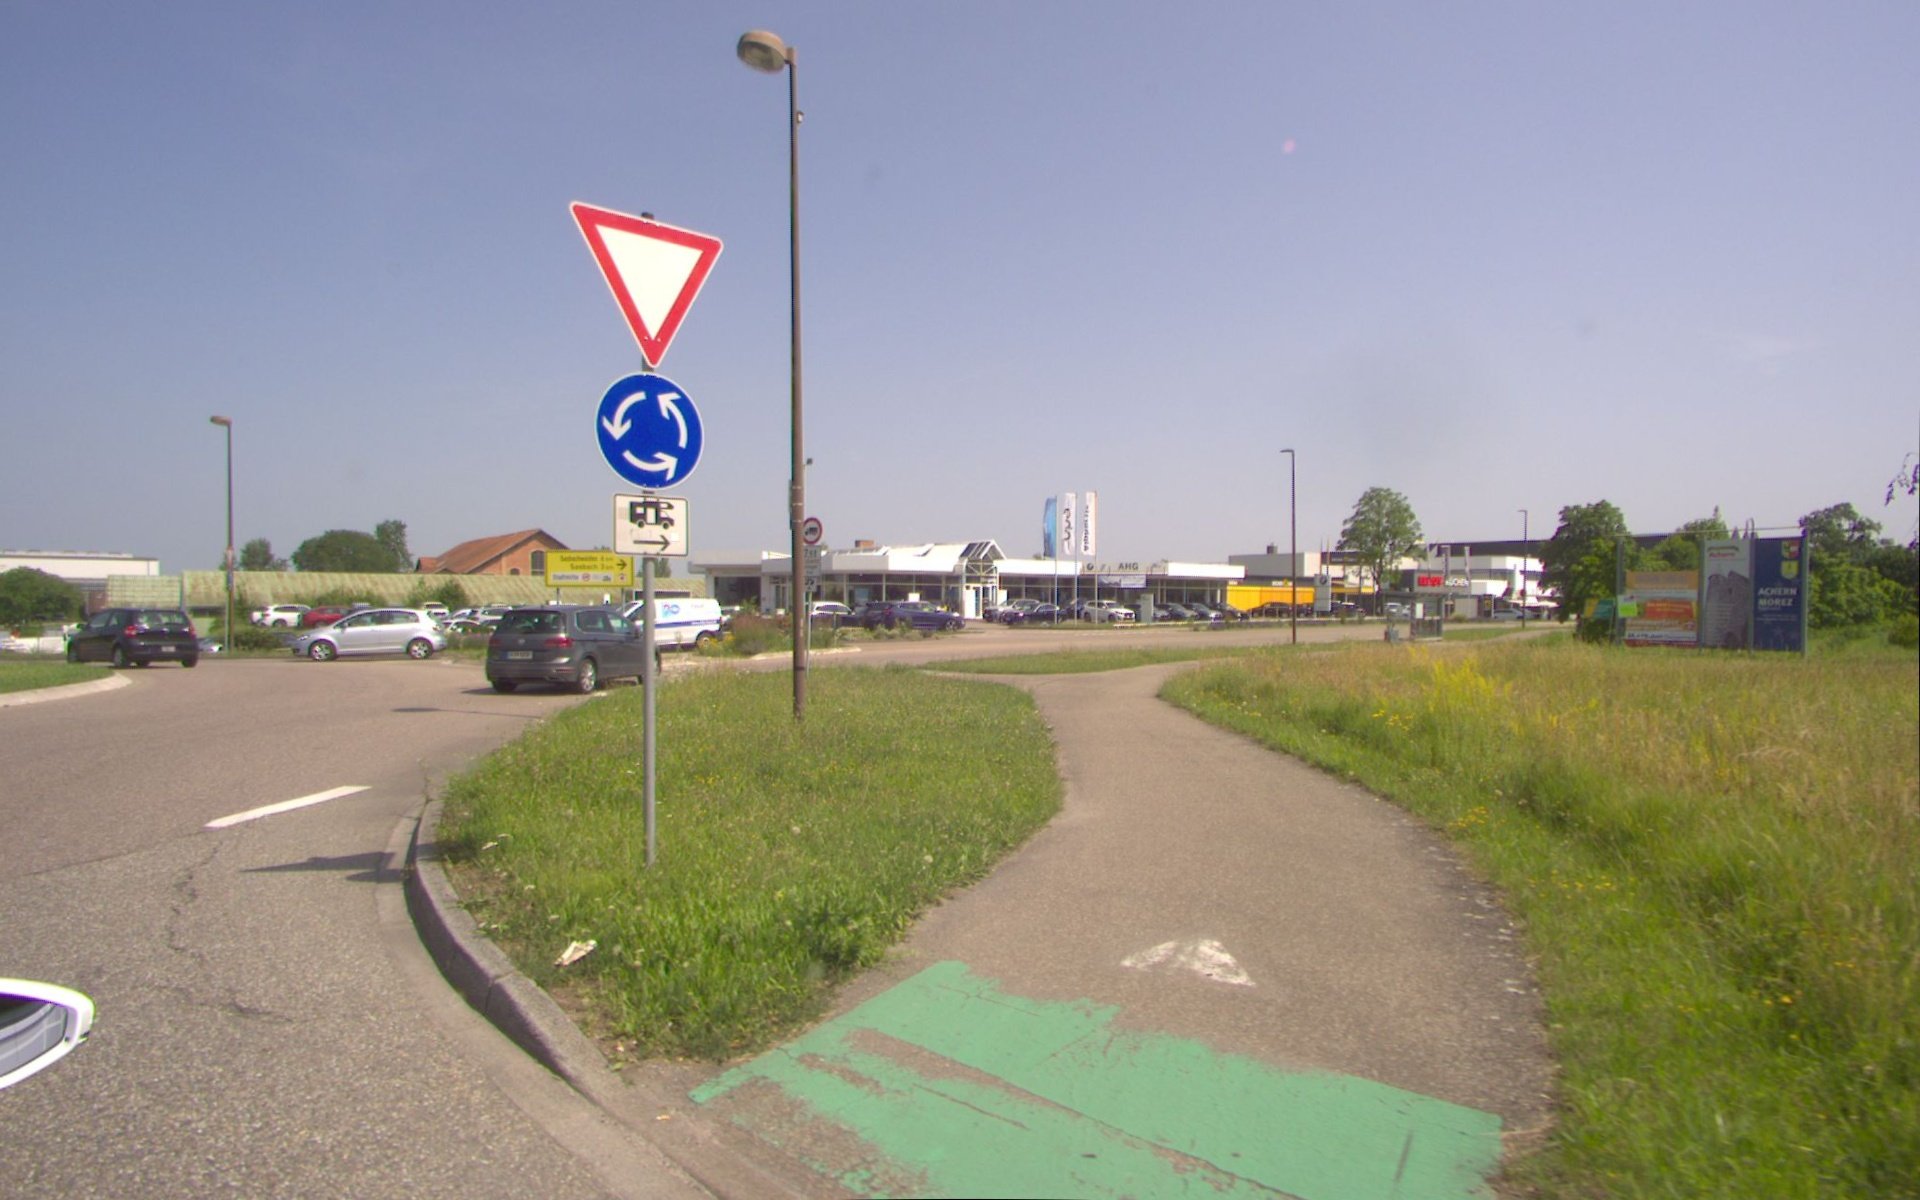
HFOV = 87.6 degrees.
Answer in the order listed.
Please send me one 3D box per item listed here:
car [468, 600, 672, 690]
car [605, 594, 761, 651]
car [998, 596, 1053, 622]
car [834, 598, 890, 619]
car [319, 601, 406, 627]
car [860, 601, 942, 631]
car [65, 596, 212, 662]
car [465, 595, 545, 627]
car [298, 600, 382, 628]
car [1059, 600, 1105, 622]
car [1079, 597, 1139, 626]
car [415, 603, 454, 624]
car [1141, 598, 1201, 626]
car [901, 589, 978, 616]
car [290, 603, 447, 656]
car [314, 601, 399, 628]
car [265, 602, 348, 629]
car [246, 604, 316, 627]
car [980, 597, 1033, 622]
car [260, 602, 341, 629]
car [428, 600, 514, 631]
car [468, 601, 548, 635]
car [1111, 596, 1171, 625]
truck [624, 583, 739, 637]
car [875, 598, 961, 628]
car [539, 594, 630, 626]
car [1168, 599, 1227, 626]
[{"bbox_3d":[-7.192,0.754,18.948,1.740,1.504,4.038,0,0,10],"label":"car"},{"bbox_3d":[-9.966,0.841,36.226,5.166,1.962,1.848,1,-2,-36],"label":"car"},{"bbox_3d":[4.480,0.661,68.441,3.656,1.675,1.569,1,-2,-39],"label":"car"},{"bbox_3d":[-7.662,0.632,78.176,3.991,1.607,1.896,-1,0,-37],"label":"car"},{"bbox_3d":[-37.350,0.865,62.630,4.421,1.520,1.932,-1,0,-42],"label":"car"},{"bbox_3d":[-3.223,0.840,54.230,4.293,1.533,1.908,0,0,-10],"label":"car"},{"bbox_3d":[-21.050,0.756,25.631,3.943,1.549,1.776,-1,-2,32],"label":"car"},{"bbox_3d":[-27.262,0.656,60.077,3.965,1.774,1.932,-2,2,-42],"label":"car"},{"bbox_3d":[-40.777,0.884,65.896,4.421,1.770,1.932,-1,0,-42],"label":"car"},{"bbox_3d":[9.721,0.891,79.869,3.656,1.675,1.569,1,-2,-39],"label":"car"},{"bbox_3d":[10.909,0.861,73.457,1.977,2.039,4.230,1,-2,-38],"label":"car"},{"bbox_3d":[-41.414,1.078,78.815,1.901,1.617,4.269,-1,0,-39],"label":"car"},{"bbox_3d":[16.185,0.972,76.862,1.977,2.039,4.230,1,-2,-38],"label":"car"},{"bbox_3d":[-1.218,0.129,58.339,4.293,1.533,1.908,0,0,-10],"label":"car"},{"bbox_3d":[-18.130,0.924,30.927,4.024,1.549,1.778,1,-2,-27],"label":"car"},{"bbox_3d":[-38.772,0.926,64.380,4.421,1.656,1.932,-1,0,-42],"label":"car"},{"bbox_3d":[-43.643,1.012,66.948,4.421,1.770,1.822,-1,0,-42],"label":"car"},{"bbox_3d":[-47.363,1.082,69.884,3.847,1.553,1.752,-1,0,-42],"label":"car"},{"bbox_3d":[3.323,0.715,71.000,3.656,1.675,1.569,1,-2,-39],"label":"car"},{"bbox_3d":[-45.165,1.036,68.657,4.421,1.770,1.822,-1,0,-42],"label":"car"},{"bbox_3d":[-27.092,0.835,55.646,1.736,1.591,4.572,-2,0,14],"label":"car"},{"bbox_3d":[-24.691,0.949,54.894,1.734,1.592,4.660,-1,2,9],"label":"car"},{"bbox_3d":[13.621,0.830,75.389,1.977,2.039,4.230,1,-2,-38],"label":"car"},{"bbox_3d":[-14.683,0.489,53.027,5.557,2.700,1.935,-1,1,-37],"label":"truck"},{"bbox_3d":[-2.209,0.663,52.129,4.293,1.533,1.908,0,0,-10],"label":"car"},{"bbox_3d":[-21.268,0.562,56.831,4.378,1.520,1.932,-4,1,-42],"label":"car"},{"bbox_3d":[18.632,1.035,78.746,1.977,2.039,4.230,1,-2,-38],"label":"car"}]
